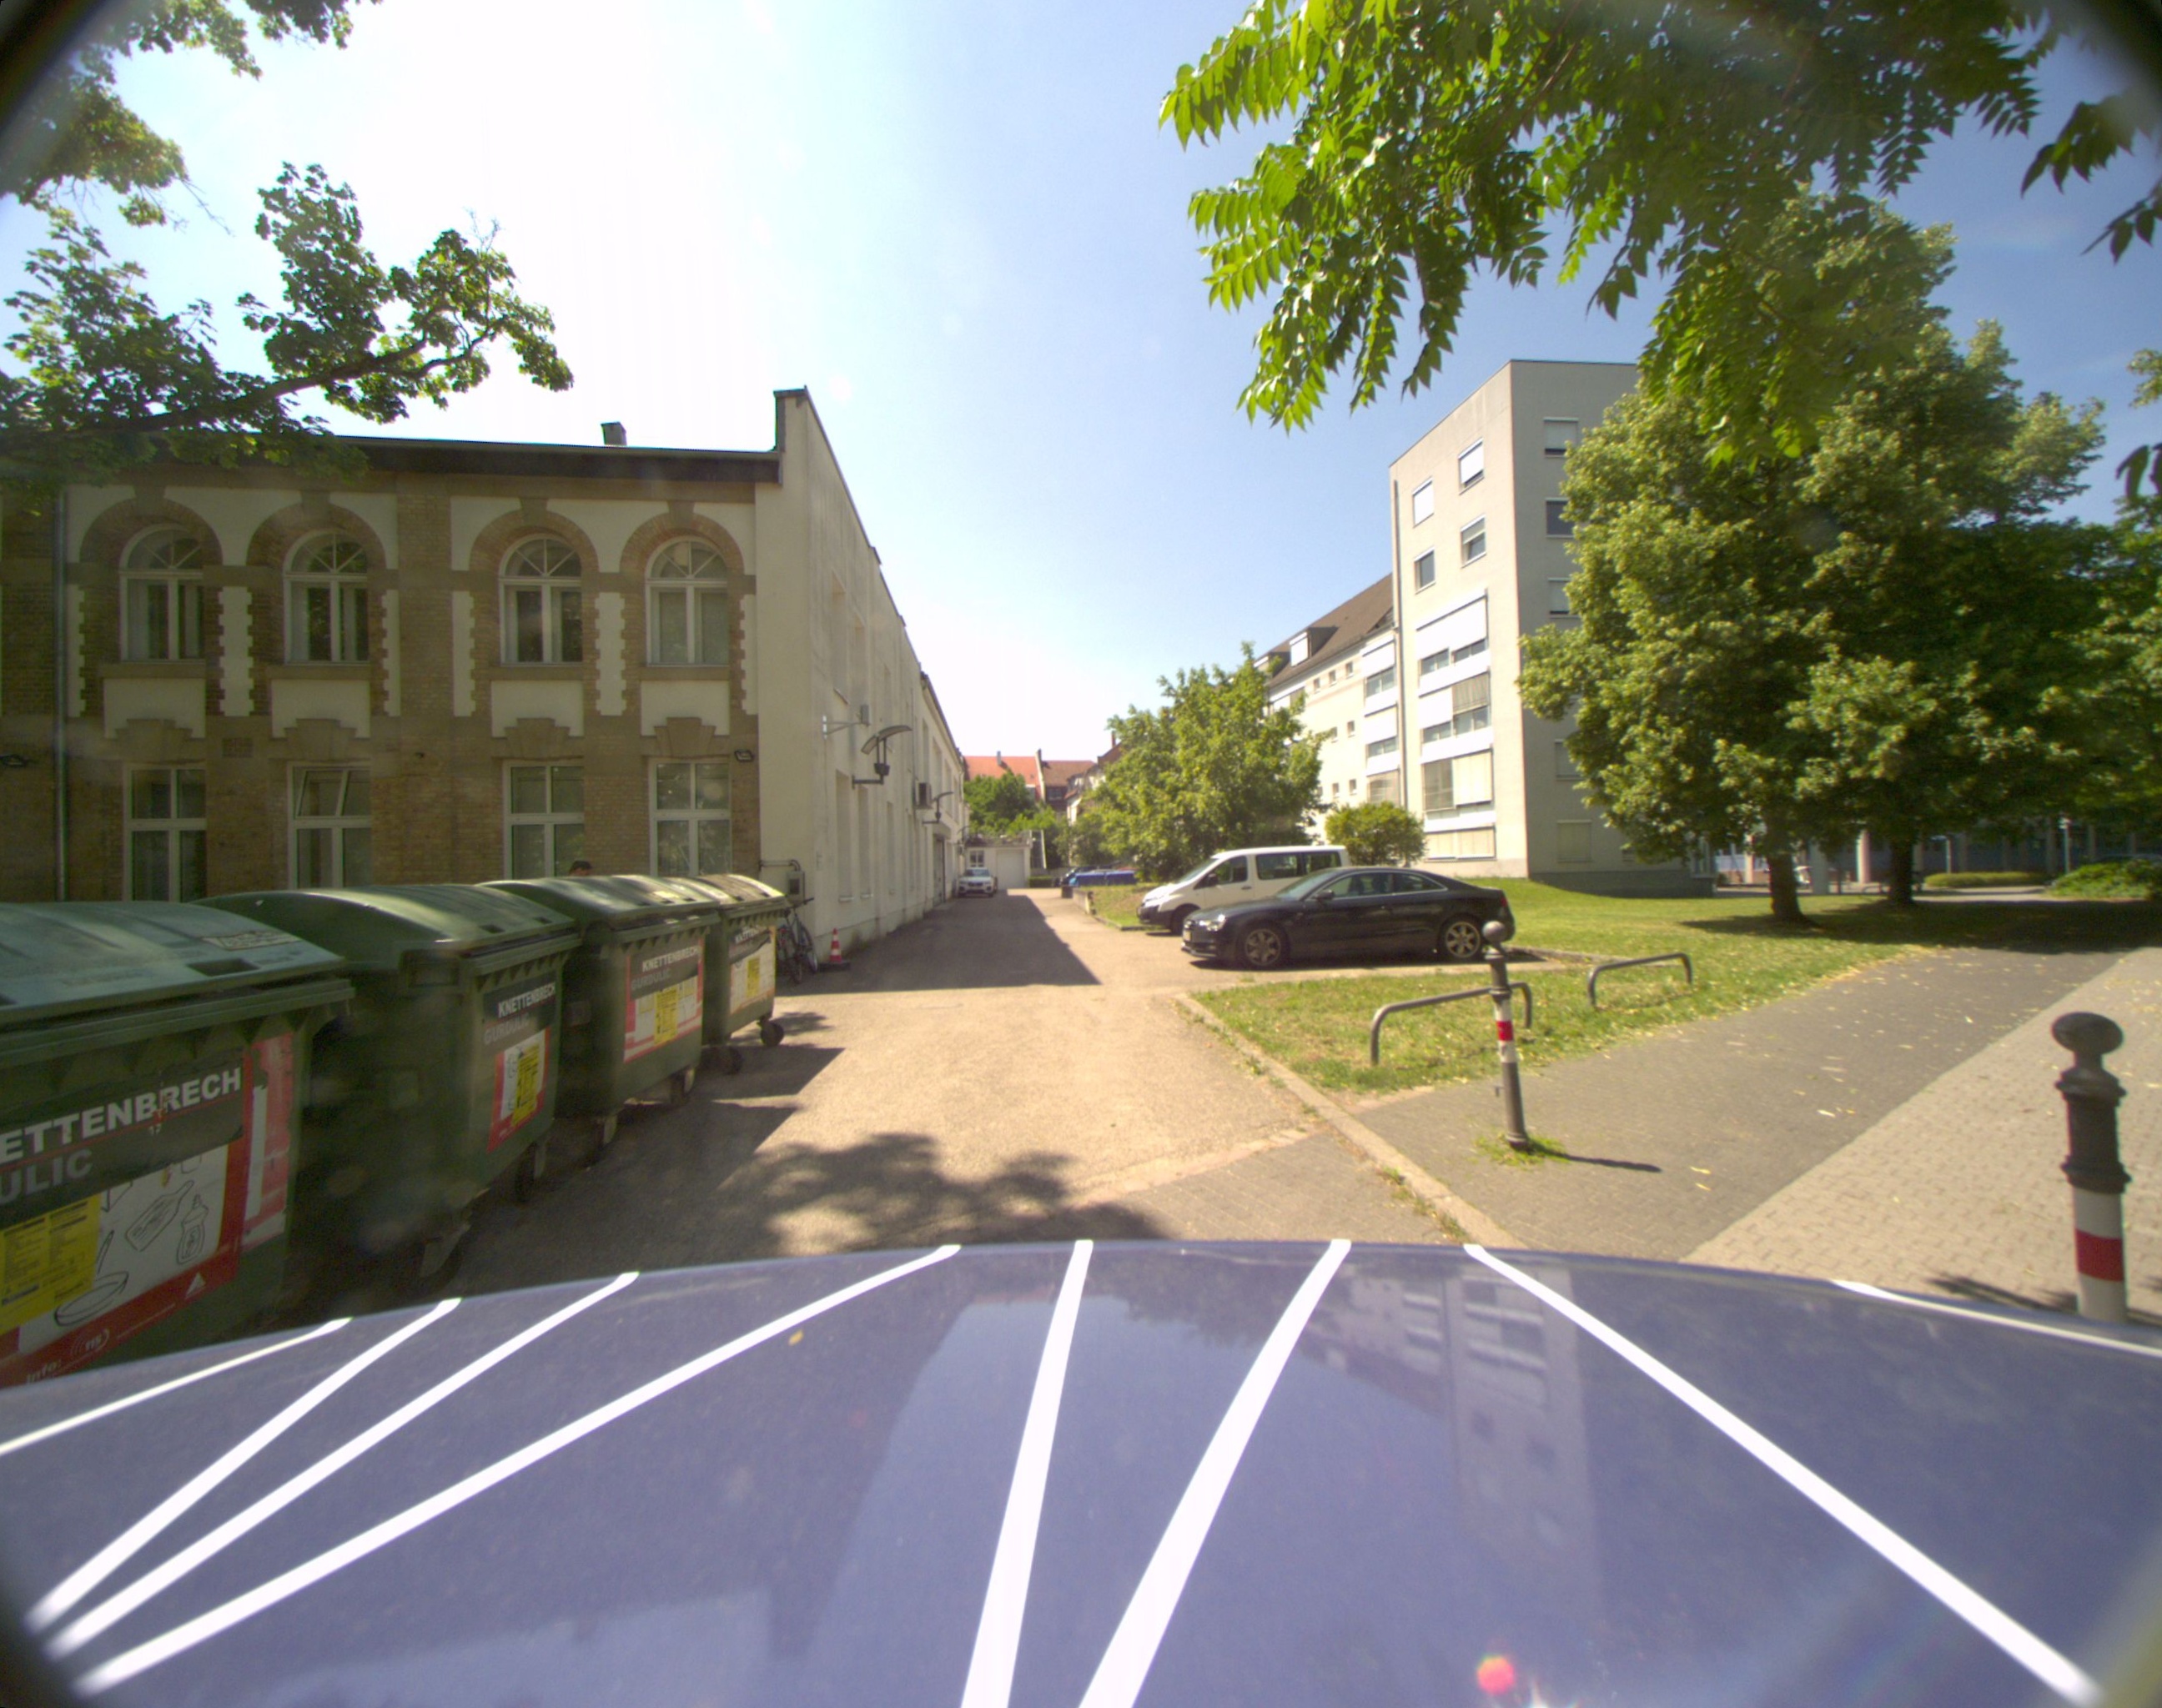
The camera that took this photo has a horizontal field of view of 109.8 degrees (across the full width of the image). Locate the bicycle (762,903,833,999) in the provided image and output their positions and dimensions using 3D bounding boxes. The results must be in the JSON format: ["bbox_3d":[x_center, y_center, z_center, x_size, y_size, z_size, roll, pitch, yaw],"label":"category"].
[{"bbox_3d":[-3.846,1.271,10.413,0.406,1.095,1.825,-1,0,-5],"label":"bicycle"}]

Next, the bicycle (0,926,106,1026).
[{"bbox_3d":[-13.014,1.499,9.108,0.406,1.095,1.825,-1,0,-5],"label":"bicycle"}]

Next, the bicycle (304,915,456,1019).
[{"bbox_3d":[-9.058,1.411,9.920,0.406,1.095,1.825,-1,0,-5],"label":"bicycle"}]

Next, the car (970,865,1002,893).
[{"bbox_3d":[-6.623,1.701,53.259,2.012,1.792,4.725,-1,0,-5],"label":"car"}]

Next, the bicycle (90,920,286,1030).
[{"bbox_3d":[-11.096,1.457,9.544,0.406,1.095,1.825,-1,0,-5],"label":"bicycle"}]

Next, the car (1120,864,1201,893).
[{"bbox_3d":[4.683,1.426,44.900,4.447,1.559,1.612,-1,0,-11],"label":"car"}]

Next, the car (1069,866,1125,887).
[{"bbox_3d":[1.259,1.787,60.331,4.225,1.559,1.612,-1,0,-11],"label":"car"}]

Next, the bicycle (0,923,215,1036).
[{"bbox_3d":[-11.846,1.473,9.337,0.406,1.095,1.825,-1,0,-5],"label":"bicycle"}]

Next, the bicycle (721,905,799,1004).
[{"bbox_3d":[-4.309,1.304,10.320,0.406,1.095,1.825,-1,0,-5],"label":"bicycle"}]

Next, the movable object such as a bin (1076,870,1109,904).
[{"bbox_3d":[0.483,1.412,32.757,1.272,1.380,1.095,-1,0,-5],"label":"movable object such as a bin"}]

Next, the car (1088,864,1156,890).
[{"bbox_3d":[2.702,1.533,50.752,4.225,1.559,1.612,-1,0,-11],"label":"car"}]

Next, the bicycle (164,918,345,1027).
[{"bbox_3d":[-10.390,1.441,9.650,0.406,1.095,1.825,-1,0,-5],"label":"bicycle"}]

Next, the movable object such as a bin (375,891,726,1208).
[{"bbox_3d":[-2.908,0.982,4.405,1.078,1.449,1.376,-1,0,-4],"label":"movable object such as a bin"}]

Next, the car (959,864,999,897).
[{"bbox_3d":[-5.914,1.491,44.488,2.012,1.792,4.725,-1,0,-5],"label":"car"}]

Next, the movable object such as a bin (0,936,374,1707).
[{"bbox_3d":[-2.608,0.976,1.527,1.078,1.449,1.376,-1,0,-4],"label":"movable object such as a bin"}]

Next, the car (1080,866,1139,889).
[{"bbox_3d":[2.144,1.733,57.342,4.225,1.559,1.612,-1,0,-11],"label":"car"}]

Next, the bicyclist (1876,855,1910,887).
[{"bbox_3d":[27.495,0.578,25.733,0.522,1.038,0.518,-1,-3,-3],"label":"bicyclist"}]

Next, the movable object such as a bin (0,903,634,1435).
[{"bbox_3d":[-2.673,0.970,2.948,1.078,1.449,1.376,-1,0,-4],"label":"movable object such as a bin"}]

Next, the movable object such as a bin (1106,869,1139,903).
[{"bbox_3d":[1.775,1.383,32.899,1.272,1.380,1.095,-1,0,-5],"label":"movable object such as a bin"}]

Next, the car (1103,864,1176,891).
[{"bbox_3d":[3.654,1.462,47.522,4.225,1.559,1.612,-1,0,-11],"label":"car"}]

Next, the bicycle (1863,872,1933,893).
[{"bbox_3d":[27.636,0.963,25.701,1.616,0.637,0.734,-1,-3,-4],"label":"bicycle"}]

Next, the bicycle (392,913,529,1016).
[{"bbox_3d":[-8.073,1.389,9.991,0.406,1.095,1.825,-1,0,-5],"label":"bicycle"}]

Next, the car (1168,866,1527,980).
[{"bbox_3d":[3.644,0.945,11.005,4.442,1.371,2.024,-1,-2,-3],"label":"car"}]

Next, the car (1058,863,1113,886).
[{"bbox_3d":[0.374,1.694,63.198,4.225,1.812,2.008,-1,0,-10],"label":"car"}]

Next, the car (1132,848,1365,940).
[{"bbox_3d":[3.729,0.864,17.538,4.861,1.872,2.067,-1,0,-3],"label":"car"}]

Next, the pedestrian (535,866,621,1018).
[{"bbox_3d":[-6.030,1.027,9.147,0.552,1.738,0.689,-1,0,-4],"label":"pedestrian"}]

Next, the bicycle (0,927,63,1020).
[{"bbox_3d":[-13.535,1.510,9.070,0.406,1.095,1.825,-1,0,-5],"label":"bicycle"}]

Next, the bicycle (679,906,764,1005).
[{"bbox_3d":[-4.827,1.316,10.306,0.406,1.095,1.825,-1,0,-5],"label":"bicycle"}]

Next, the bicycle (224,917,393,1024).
[{"bbox_3d":[-9.823,1.428,9.762,0.406,1.095,1.825,-1,0,-5],"label":"bicycle"}]

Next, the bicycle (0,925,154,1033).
[{"bbox_3d":[-12.481,1.487,9.181,0.406,1.095,1.825,-1,0,-5],"label":"bicycle"}]

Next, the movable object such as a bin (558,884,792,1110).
[{"bbox_3d":[-3.010,0.991,5.844,1.078,1.449,1.376,-1,0,-4],"label":"movable object such as a bin"}]
